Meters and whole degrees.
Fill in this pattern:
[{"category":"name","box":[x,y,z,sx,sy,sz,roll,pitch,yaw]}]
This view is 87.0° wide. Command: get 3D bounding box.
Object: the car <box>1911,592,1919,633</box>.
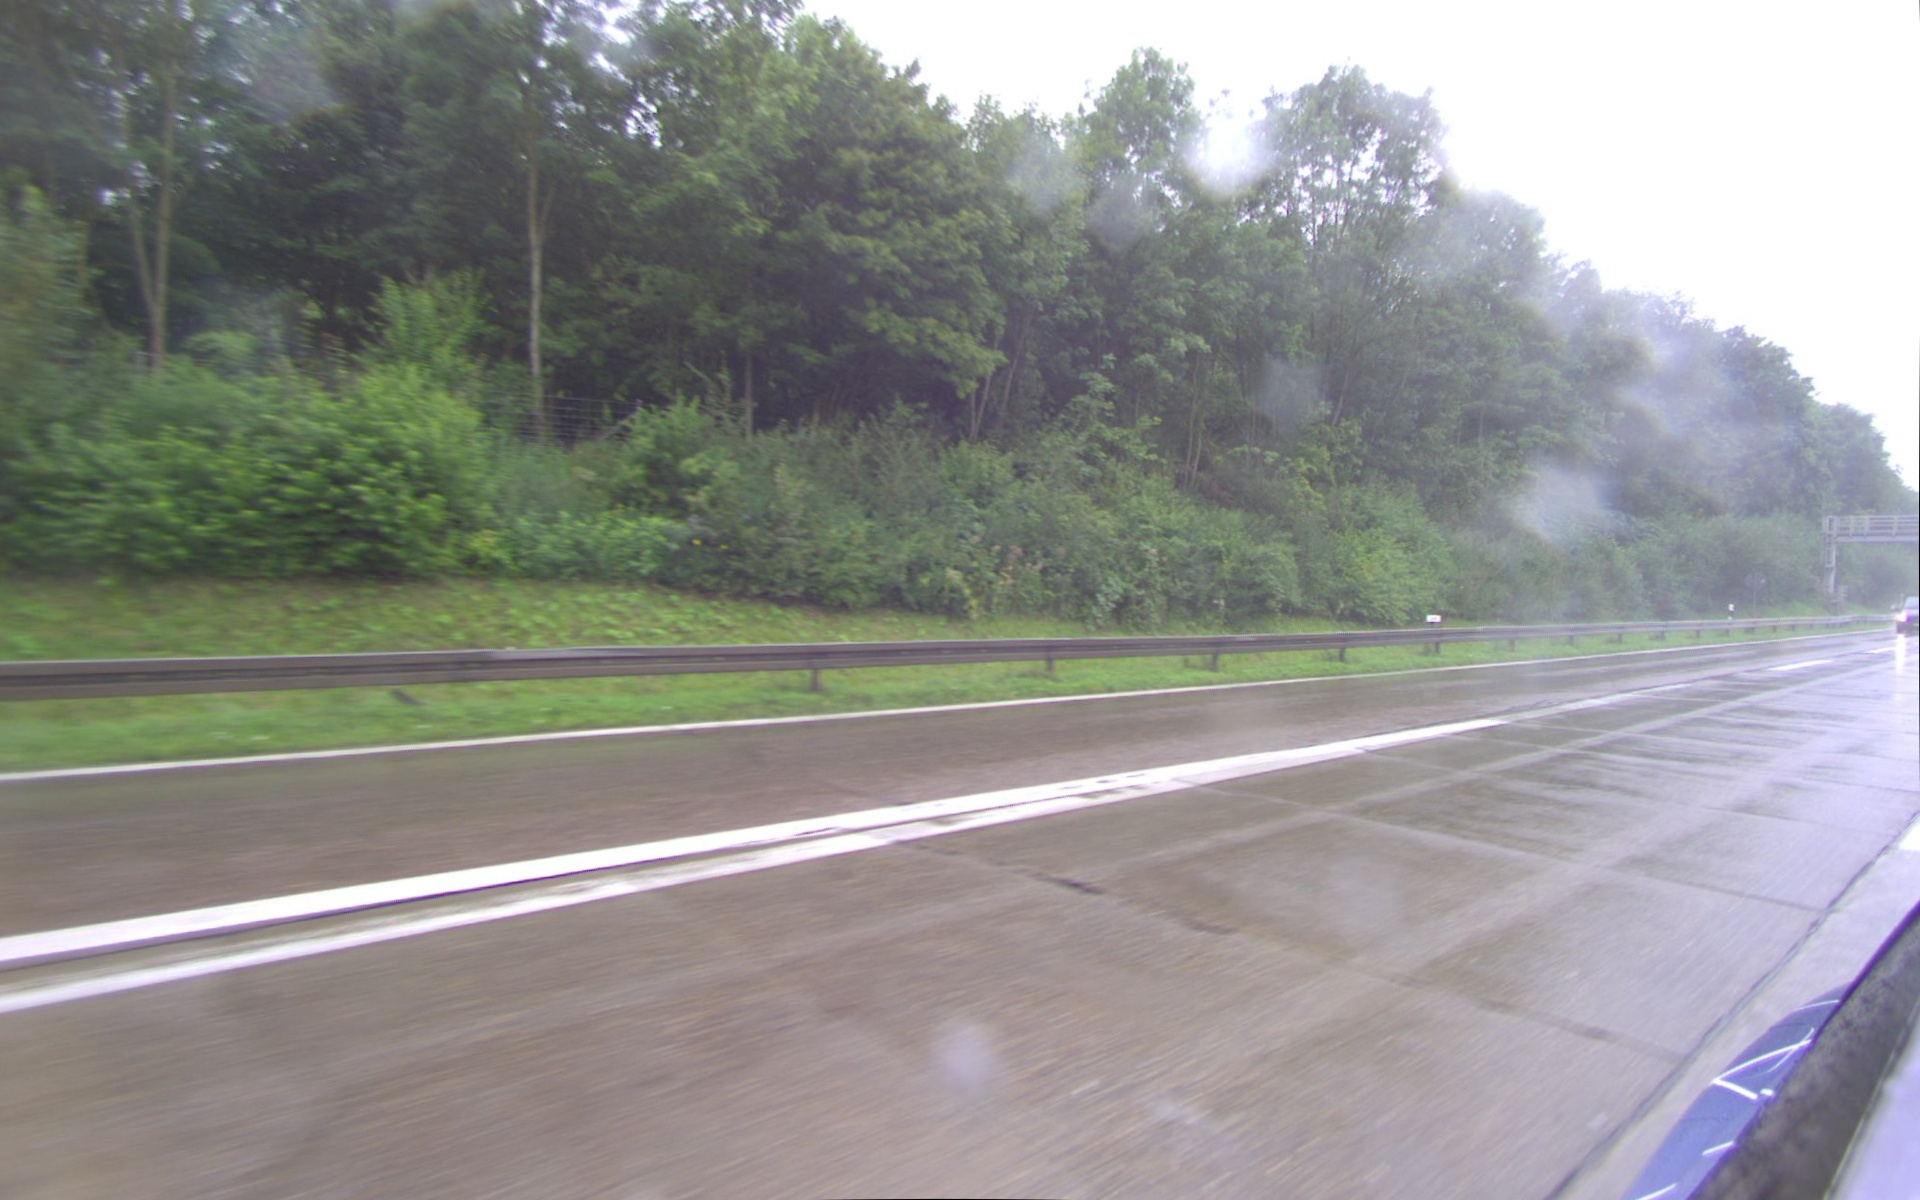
[{"category":"car","box":[49.210,0.619,50.571,3.926,2.039,1.859,0,0,-37]}]
